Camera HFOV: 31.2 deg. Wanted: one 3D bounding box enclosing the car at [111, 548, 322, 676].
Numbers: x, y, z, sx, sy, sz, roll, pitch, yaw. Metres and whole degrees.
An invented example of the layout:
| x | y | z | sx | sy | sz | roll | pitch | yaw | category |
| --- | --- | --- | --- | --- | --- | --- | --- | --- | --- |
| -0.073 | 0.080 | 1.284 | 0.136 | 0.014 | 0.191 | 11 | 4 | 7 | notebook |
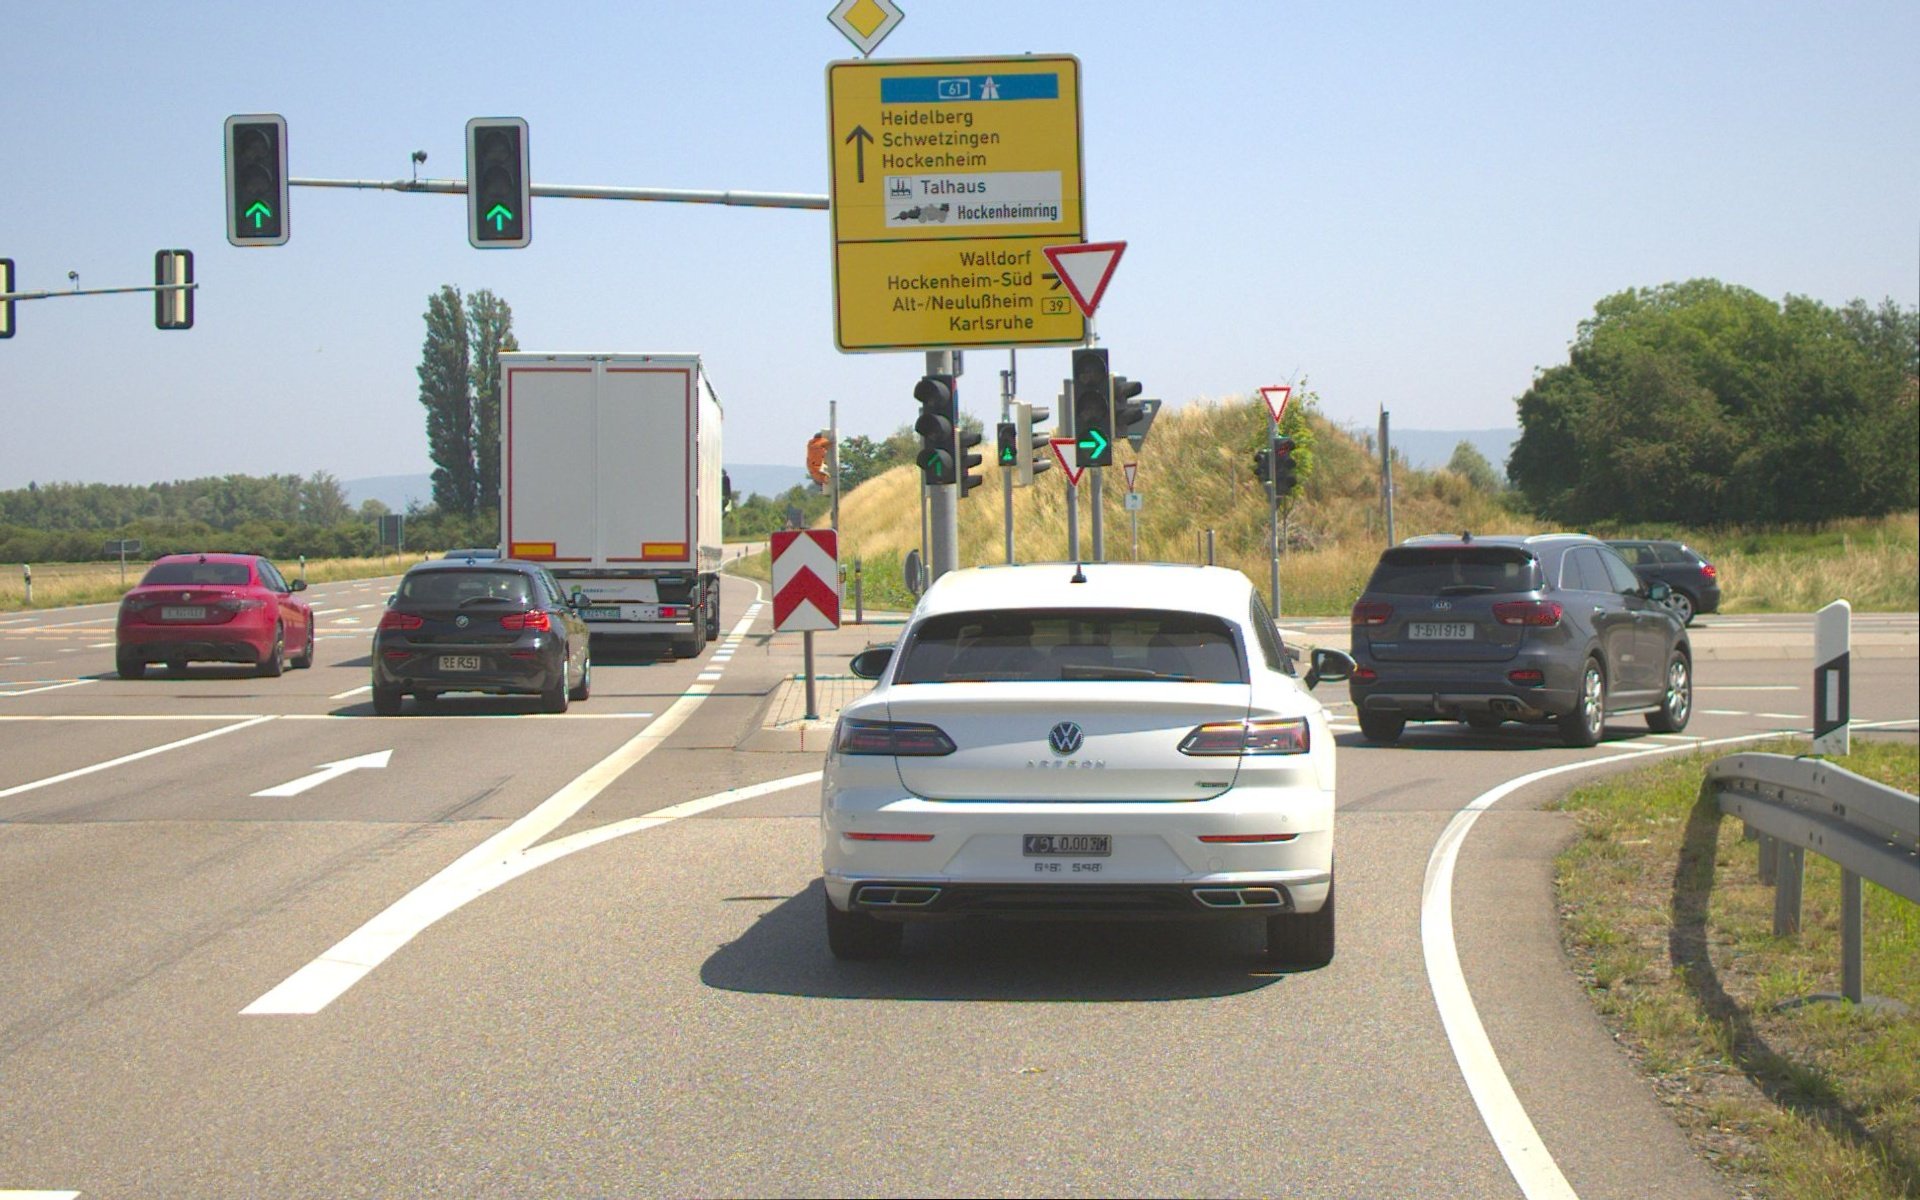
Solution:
| x | y | z | sx | sy | sz | roll | pitch | yaw | category |
| --- | --- | --- | --- | --- | --- | --- | --- | --- | --- |
| -8.908 | 0.099 | 41.514 | 1.749 | 1.416 | 4.567 | 1 | 1 | -3 | car |

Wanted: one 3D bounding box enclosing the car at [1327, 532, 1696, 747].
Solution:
| x | y | z | sx | sy | sz | roll | pitch | yaw | category |
| --- | --- | --- | --- | --- | --- | --- | --- | --- | --- |
| 4.617 | 0.274 | 28.254 | 1.937 | 1.611 | 4.373 | 0 | 1 | 24 | car |

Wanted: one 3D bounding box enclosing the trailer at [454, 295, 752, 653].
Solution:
| x | y | z | sx | sy | sz | roll | pitch | yaw | category |
| --- | --- | --- | --- | --- | --- | --- | --- | --- | --- |
| -4.925 | -1.703 | 50.131 | 3.381 | 4.527 | 12.873 | 0 | 1 | -2 | trailer |

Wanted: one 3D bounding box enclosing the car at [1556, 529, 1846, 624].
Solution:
| x | y | z | sx | sy | sz | roll | pitch | yaw | category |
| --- | --- | --- | --- | --- | --- | --- | --- | --- | --- |
| 11.832 | -0.388 | 55.076 | 4.260 | 1.364 | 1.776 | -1 | 2 | 2 | car |

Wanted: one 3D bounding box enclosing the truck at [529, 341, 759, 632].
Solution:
| x | y | z | sx | sy | sz | roll | pitch | yaw | category |
| --- | --- | --- | --- | --- | --- | --- | --- | --- | --- |
| -5.131 | -1.818 | 56.999 | 3.381 | 4.527 | 6.373 | 0 | 1 | -2 | truck |

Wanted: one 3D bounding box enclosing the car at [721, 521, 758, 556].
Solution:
| x | y | z | sx | sy | sz | roll | pitch | yaw | category |
| --- | --- | --- | --- | --- | --- | --- | --- | --- | --- |
| -12.139 | -3.384 | 189.010 | 1.980 | 1.862 | 4.468 | 0 | 1 | -5 | car |

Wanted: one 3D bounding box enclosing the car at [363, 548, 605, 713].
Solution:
| x | y | z | sx | sy | sz | roll | pitch | yaw | category |
| --- | --- | --- | --- | --- | --- | --- | --- | --- | --- |
| -4.485 | 0.240 | 32.972 | 1.784 | 1.426 | 4.381 | 1 | 1 | -1 | car |

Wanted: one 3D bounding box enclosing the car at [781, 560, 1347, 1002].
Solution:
| x | y | z | sx | sy | sz | roll | pitch | yaw | category |
| --- | --- | --- | --- | --- | --- | --- | --- | --- | --- |
| 0.557 | 0.563 | 13.501 | 1.848 | 1.428 | 4.607 | 0 | 1 | 6 | car |
